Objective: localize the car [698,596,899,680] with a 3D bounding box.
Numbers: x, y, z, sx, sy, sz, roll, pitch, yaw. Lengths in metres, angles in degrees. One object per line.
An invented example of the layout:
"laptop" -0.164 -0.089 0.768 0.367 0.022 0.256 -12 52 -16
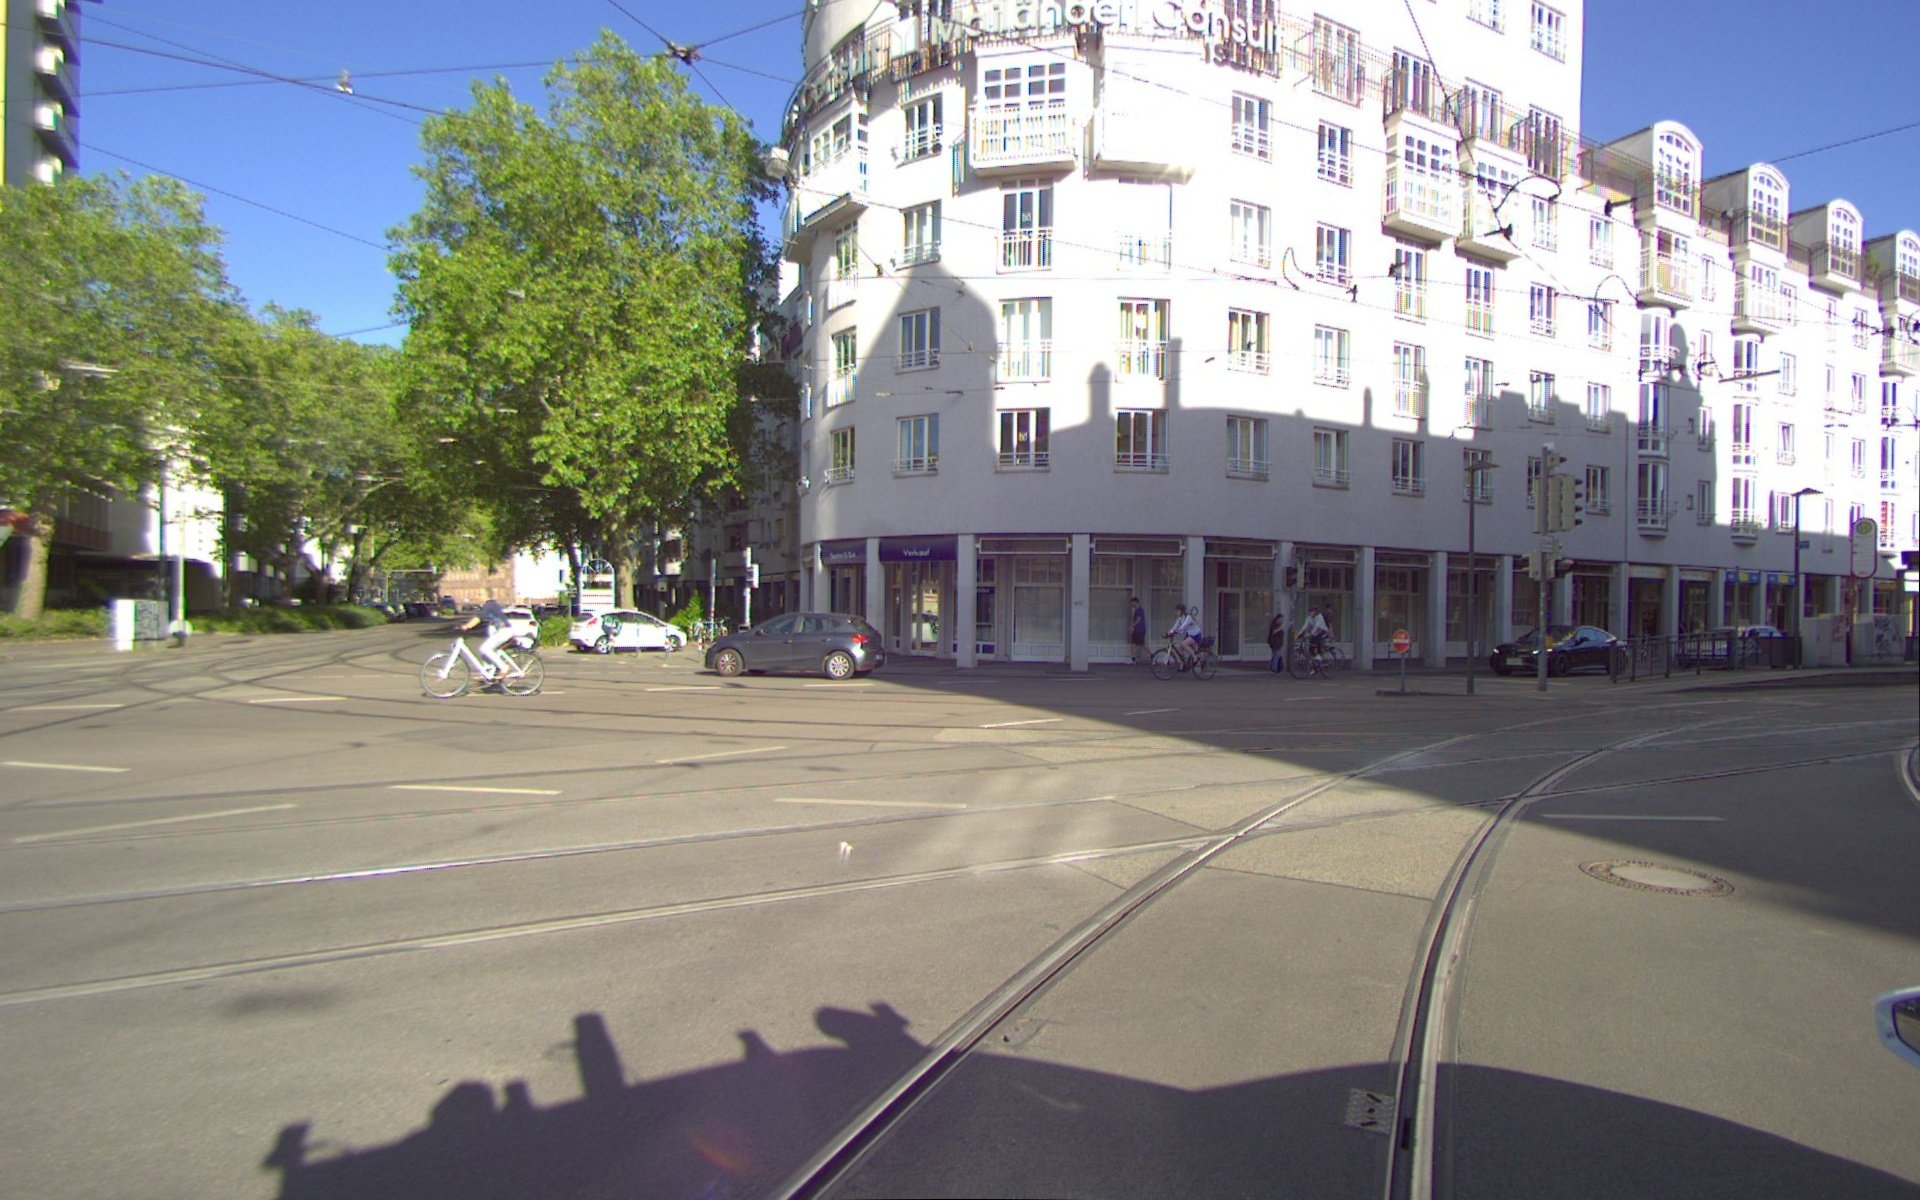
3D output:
"car" -3.541 0.846 22.397 3.919 1.617 2.002 2 -2 12

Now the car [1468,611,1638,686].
"car" 16.980 1.394 28.732 4.554 1.936 2.217 3 -2 -29

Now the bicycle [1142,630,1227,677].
"bicycle" 5.207 1.242 23.265 1.987 0.985 0.592 4 -2 -27

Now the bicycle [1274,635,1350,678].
"bicycle" 8.716 1.408 24.821 2.024 0.985 0.591 4 -3 -31

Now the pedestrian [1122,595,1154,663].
"pedestrian" 4.923 0.812 27.812 0.732 1.857 0.461 1 0 -10

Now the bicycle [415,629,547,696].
"bicycle" -7.616 1.006 16.025 1.831 0.985 0.592 4 -2 -27

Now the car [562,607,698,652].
"car" -11.262 0.978 34.417 4.071 1.421 1.781 1 0 -42

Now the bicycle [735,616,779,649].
"bicycle" -8.262 1.310 40.762 0.593 1.250 2.864 1 0 -37

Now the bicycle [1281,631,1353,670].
"bicycle" 9.912 1.395 27.920 1.727 0.993 0.678 2 -1 -1

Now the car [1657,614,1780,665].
"car" 25.508 1.343 33.765 4.352 1.534 1.721 3 -2 -30

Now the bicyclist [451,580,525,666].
"bicyclist" -7.527 0.376 16.045 0.979 1.302 0.586 4 -2 -26

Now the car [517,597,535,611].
"car" -60.982 0.593 141.043 1.975 1.739 3.972 4 -3 -27

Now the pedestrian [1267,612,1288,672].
"pedestrian" 8.358 1.101 26.420 0.434 1.554 0.683 1 0 25

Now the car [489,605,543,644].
"car" -16.998 0.906 38.488 1.778 1.421 3.984 1 0 -24

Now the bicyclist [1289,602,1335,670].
"bicyclist" 8.688 0.892 24.788 0.886 1.606 0.585 4 -2 -31

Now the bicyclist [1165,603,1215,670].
"bicyclist" 5.351 0.856 23.351 0.916 1.507 0.586 4 -2 -27

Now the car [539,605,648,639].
"car" -16.590 0.979 45.464 4.352 1.352 1.985 3 -2 -29

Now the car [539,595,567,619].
"car" -37.561 0.680 92.700 1.974 2.040 3.973 4 -3 -26

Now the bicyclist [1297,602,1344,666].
"bicyclist" 10.035 0.945 27.960 1.009 1.718 0.724 2 -1 0

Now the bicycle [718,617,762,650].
"bicycle" -8.838 1.333 40.259 0.593 1.250 2.864 1 0 -37

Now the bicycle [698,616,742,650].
"bicycle" -9.512 1.281 39.713 0.593 1.250 2.864 1 0 -37
